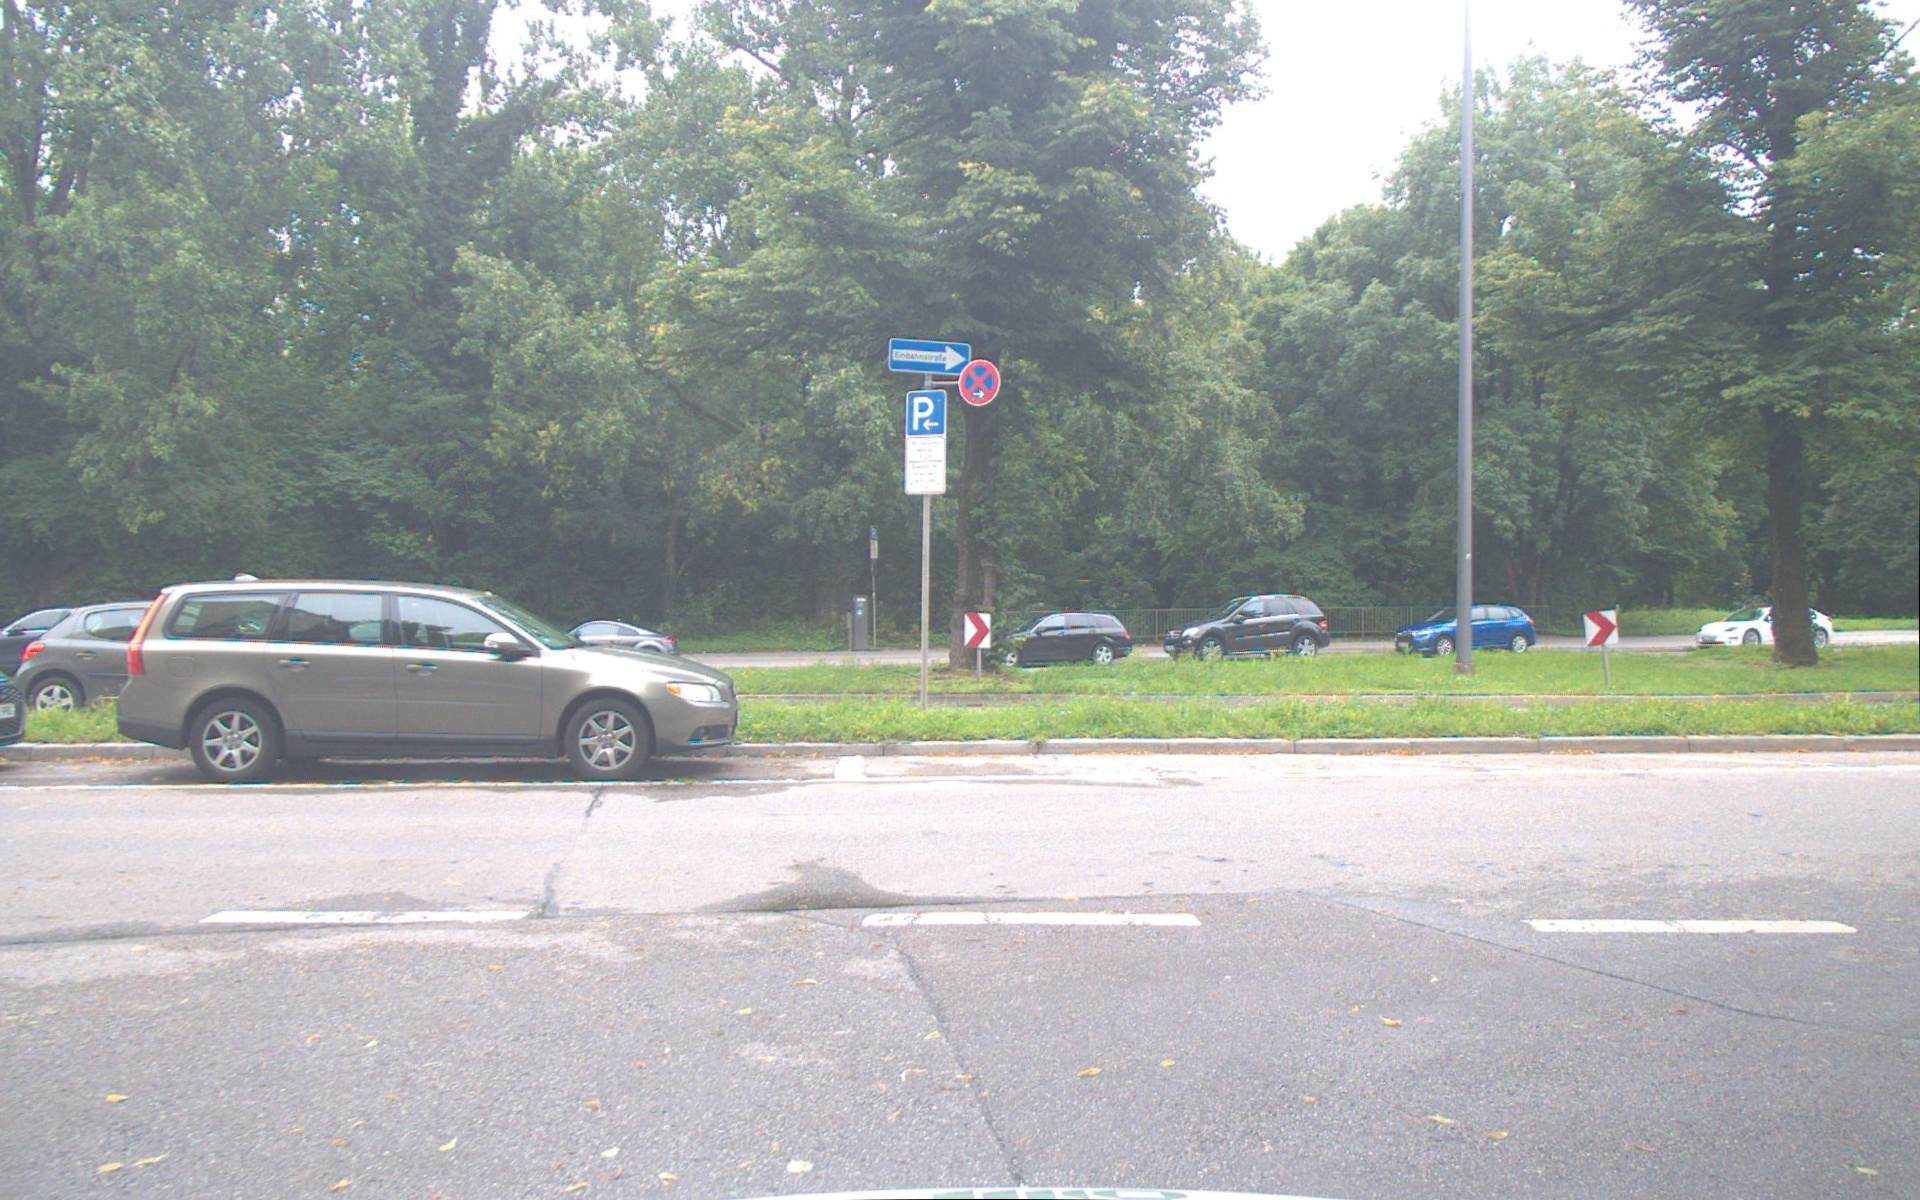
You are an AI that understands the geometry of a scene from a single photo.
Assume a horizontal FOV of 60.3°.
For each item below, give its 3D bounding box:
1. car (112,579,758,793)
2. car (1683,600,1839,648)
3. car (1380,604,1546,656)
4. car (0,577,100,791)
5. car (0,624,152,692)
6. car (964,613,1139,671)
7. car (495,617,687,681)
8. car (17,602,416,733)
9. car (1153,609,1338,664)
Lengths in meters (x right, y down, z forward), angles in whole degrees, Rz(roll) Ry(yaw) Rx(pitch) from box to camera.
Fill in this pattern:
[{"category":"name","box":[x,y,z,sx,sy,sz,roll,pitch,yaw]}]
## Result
[{"category":"car","box":[-4.034,0.646,13.418,4.661,1.592,1.903,0,0,-5]},{"category":"car","box":[25.173,0.763,52.002,4.345,1.472,1.987,0,-1,-21]},{"category":"car","box":[14.663,0.872,48.246,4.345,1.472,1.987,0,-1,-21]},{"category":"car","box":[-9.288,0.627,12.814,4.185,1.592,1.992,0,0,-5]},{"category":"car","box":[-20.820,1.303,37.376,4.231,1.472,1.992,0,-1,-14]},{"category":"car","box":[2.422,1.098,43.916,4.240,1.472,1.988,0,-1,-20]},{"category":"car","box":[-8.945,1.173,40.218,4.433,1.472,1.993,0,-1,-14]},{"category":"car","box":[-8.808,0.779,19.863,3.981,1.486,1.763,0,0,-5]},{"category":"car","box":[7.865,1.002,45.627,4.683,1.472,1.988,0,-1,-20]}]
